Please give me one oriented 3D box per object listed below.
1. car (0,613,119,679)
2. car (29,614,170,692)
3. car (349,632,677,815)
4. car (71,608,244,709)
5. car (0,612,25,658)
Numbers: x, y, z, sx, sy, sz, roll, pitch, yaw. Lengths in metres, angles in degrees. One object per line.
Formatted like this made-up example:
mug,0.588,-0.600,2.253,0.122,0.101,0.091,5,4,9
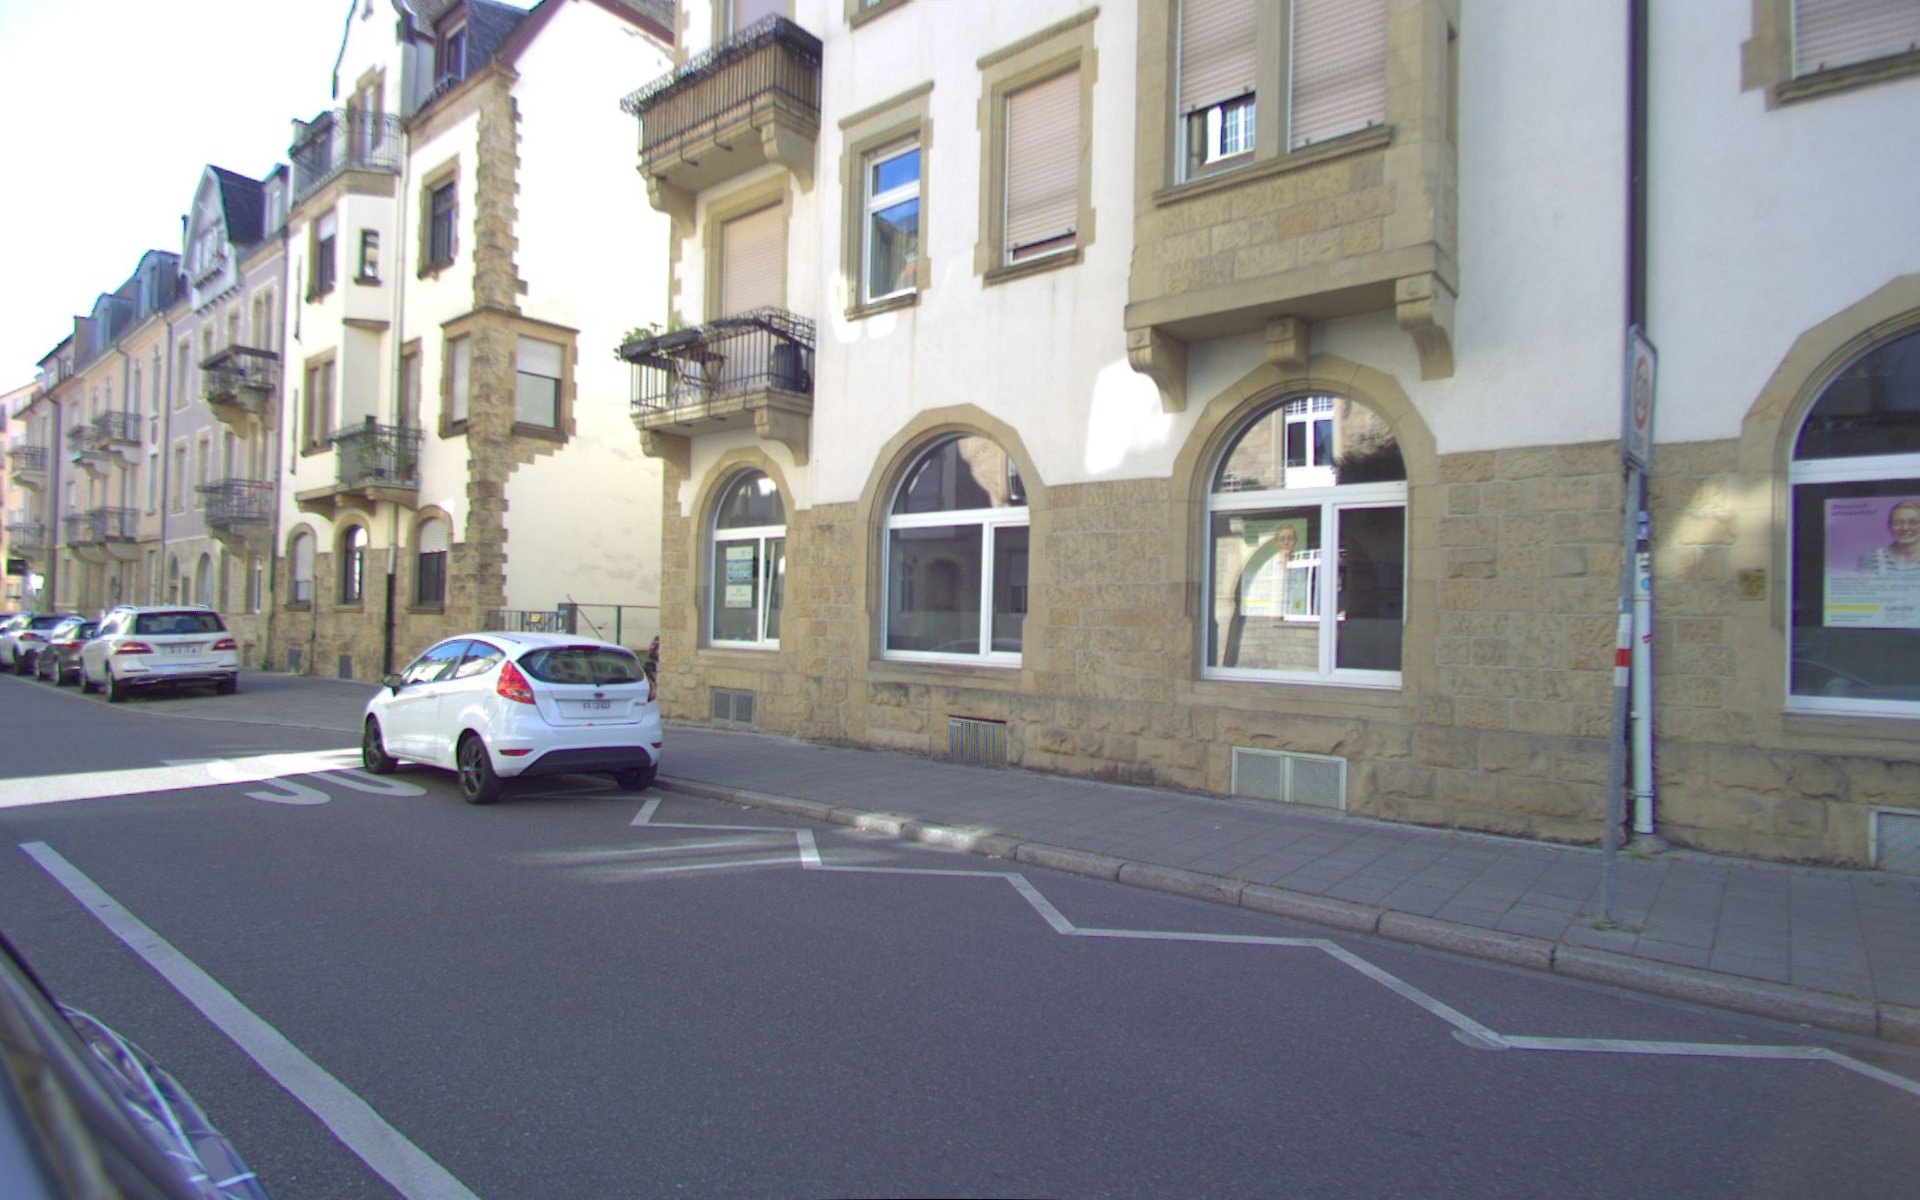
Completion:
car,-24.439,1.184,27.424,4.345,1.529,1.893,0,1,42
car,-20.059,1.155,23.536,4.345,1.529,1.893,0,1,42
car,-4.410,1.061,9.769,3.570,1.422,1.536,-1,-5,42
car,-15.697,1.025,19.717,4.345,1.671,1.893,0,1,42
car,-35.051,1.254,36.211,4.345,1.529,1.893,0,1,42
